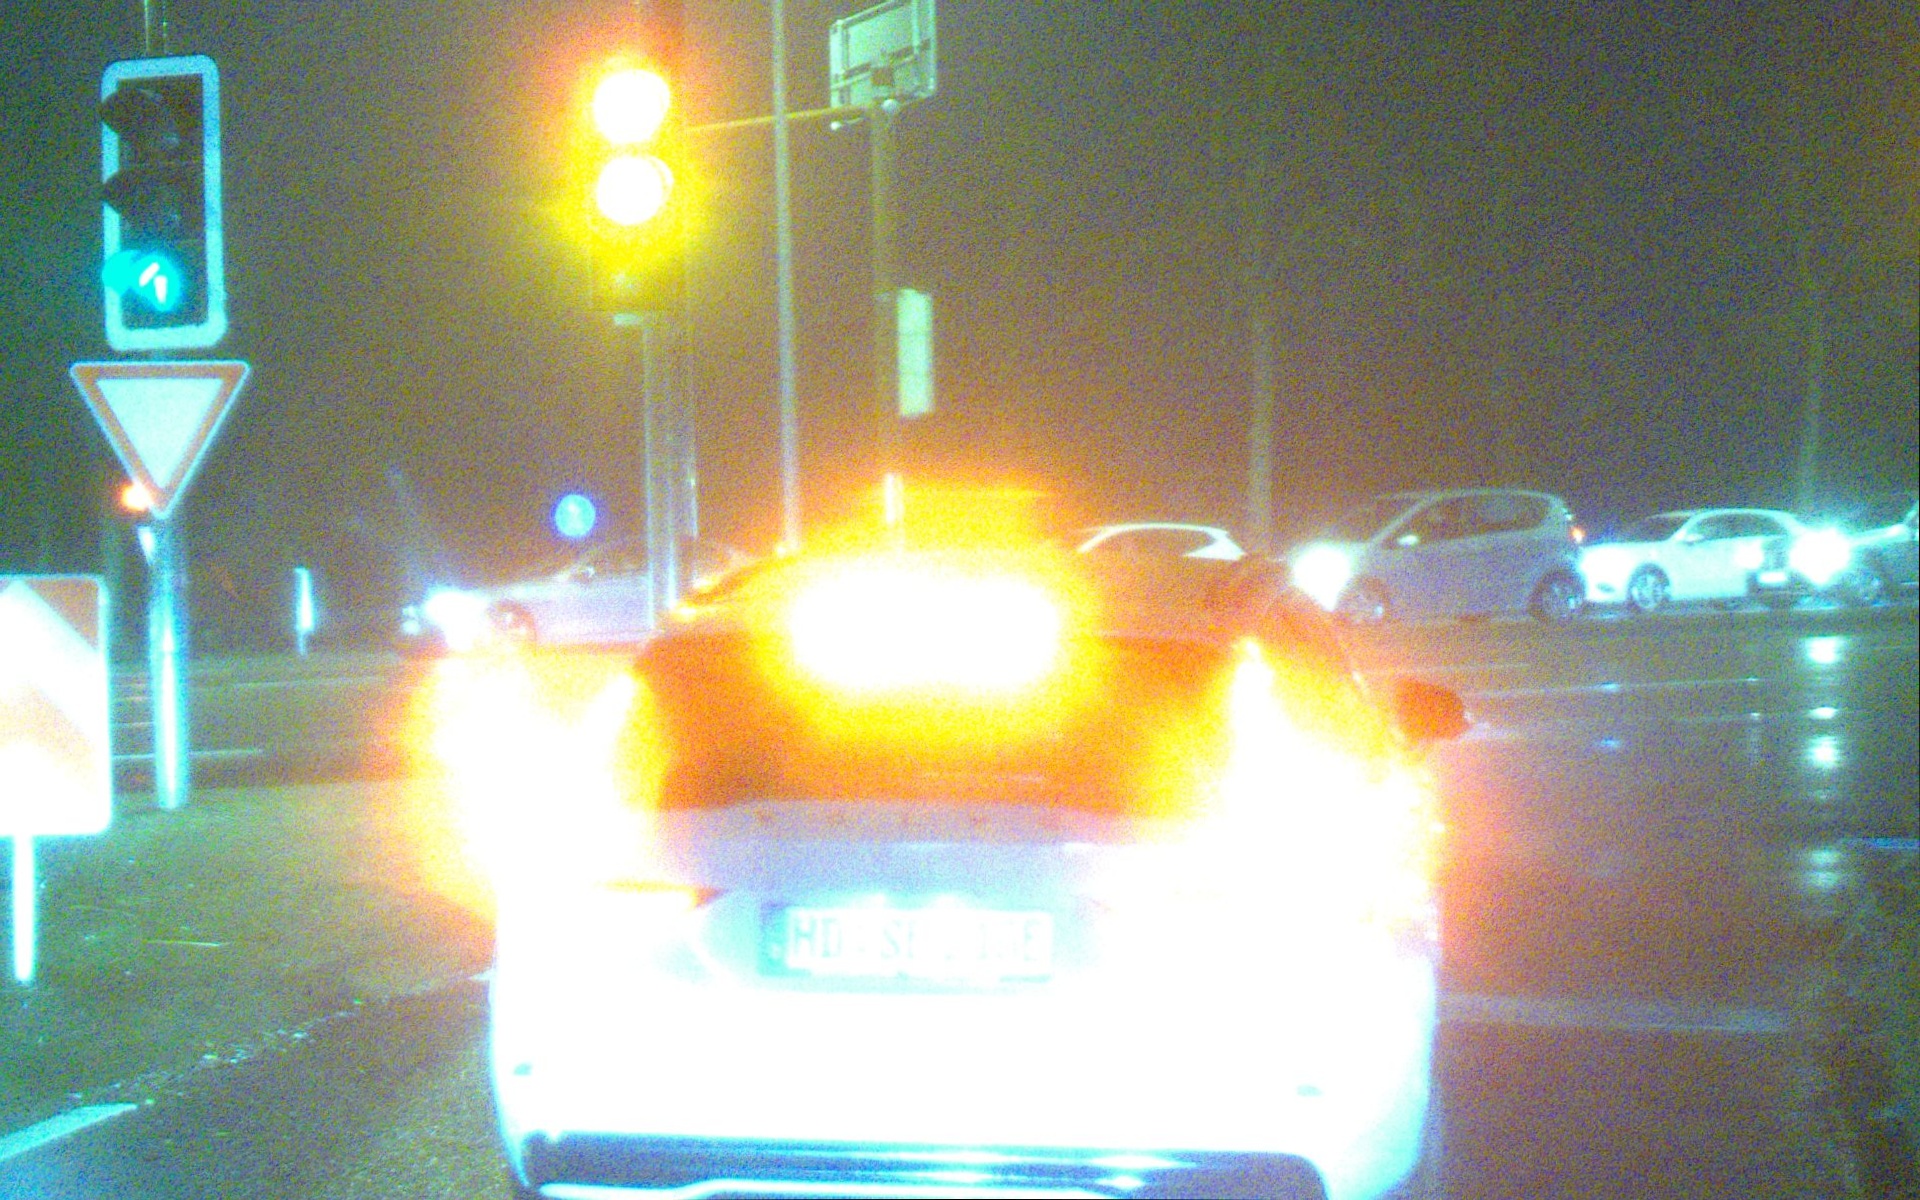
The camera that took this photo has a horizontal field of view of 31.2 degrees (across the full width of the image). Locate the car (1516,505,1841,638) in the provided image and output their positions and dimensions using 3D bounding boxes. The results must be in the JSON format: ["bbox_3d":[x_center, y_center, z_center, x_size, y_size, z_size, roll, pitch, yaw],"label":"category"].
[{"bbox_3d":[10.042,-0.390,48.023,4.236,1.793,1.804,0,0,-27],"label":"car"}]

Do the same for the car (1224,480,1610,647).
[{"bbox_3d":[5.066,-0.430,38.098,3.888,1.719,1.766,-2,2,-25],"label":"car"}]

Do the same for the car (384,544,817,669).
[{"bbox_3d":[-4.242,0.066,40.738,4.786,1.422,1.766,0,0,-26],"label":"car"}]

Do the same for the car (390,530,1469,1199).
[{"bbox_3d":[0.237,0.585,7.944,1.797,1.447,4.267,0,2,9],"label":"car"}]

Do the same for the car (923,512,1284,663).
[{"bbox_3d":[1.837,-0.162,43.720,4.270,1.842,1.766,0,0,-27],"label":"car"}]

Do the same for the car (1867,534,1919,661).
[{"bbox_3d":[15.641,-0.045,50.966,4.110,1.842,1.766,0,0,-27],"label":"car"}]

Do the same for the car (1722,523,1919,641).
[{"bbox_3d":[12.151,-0.232,44.895,4.043,1.482,1.718,0,0,-23],"label":"car"}]
